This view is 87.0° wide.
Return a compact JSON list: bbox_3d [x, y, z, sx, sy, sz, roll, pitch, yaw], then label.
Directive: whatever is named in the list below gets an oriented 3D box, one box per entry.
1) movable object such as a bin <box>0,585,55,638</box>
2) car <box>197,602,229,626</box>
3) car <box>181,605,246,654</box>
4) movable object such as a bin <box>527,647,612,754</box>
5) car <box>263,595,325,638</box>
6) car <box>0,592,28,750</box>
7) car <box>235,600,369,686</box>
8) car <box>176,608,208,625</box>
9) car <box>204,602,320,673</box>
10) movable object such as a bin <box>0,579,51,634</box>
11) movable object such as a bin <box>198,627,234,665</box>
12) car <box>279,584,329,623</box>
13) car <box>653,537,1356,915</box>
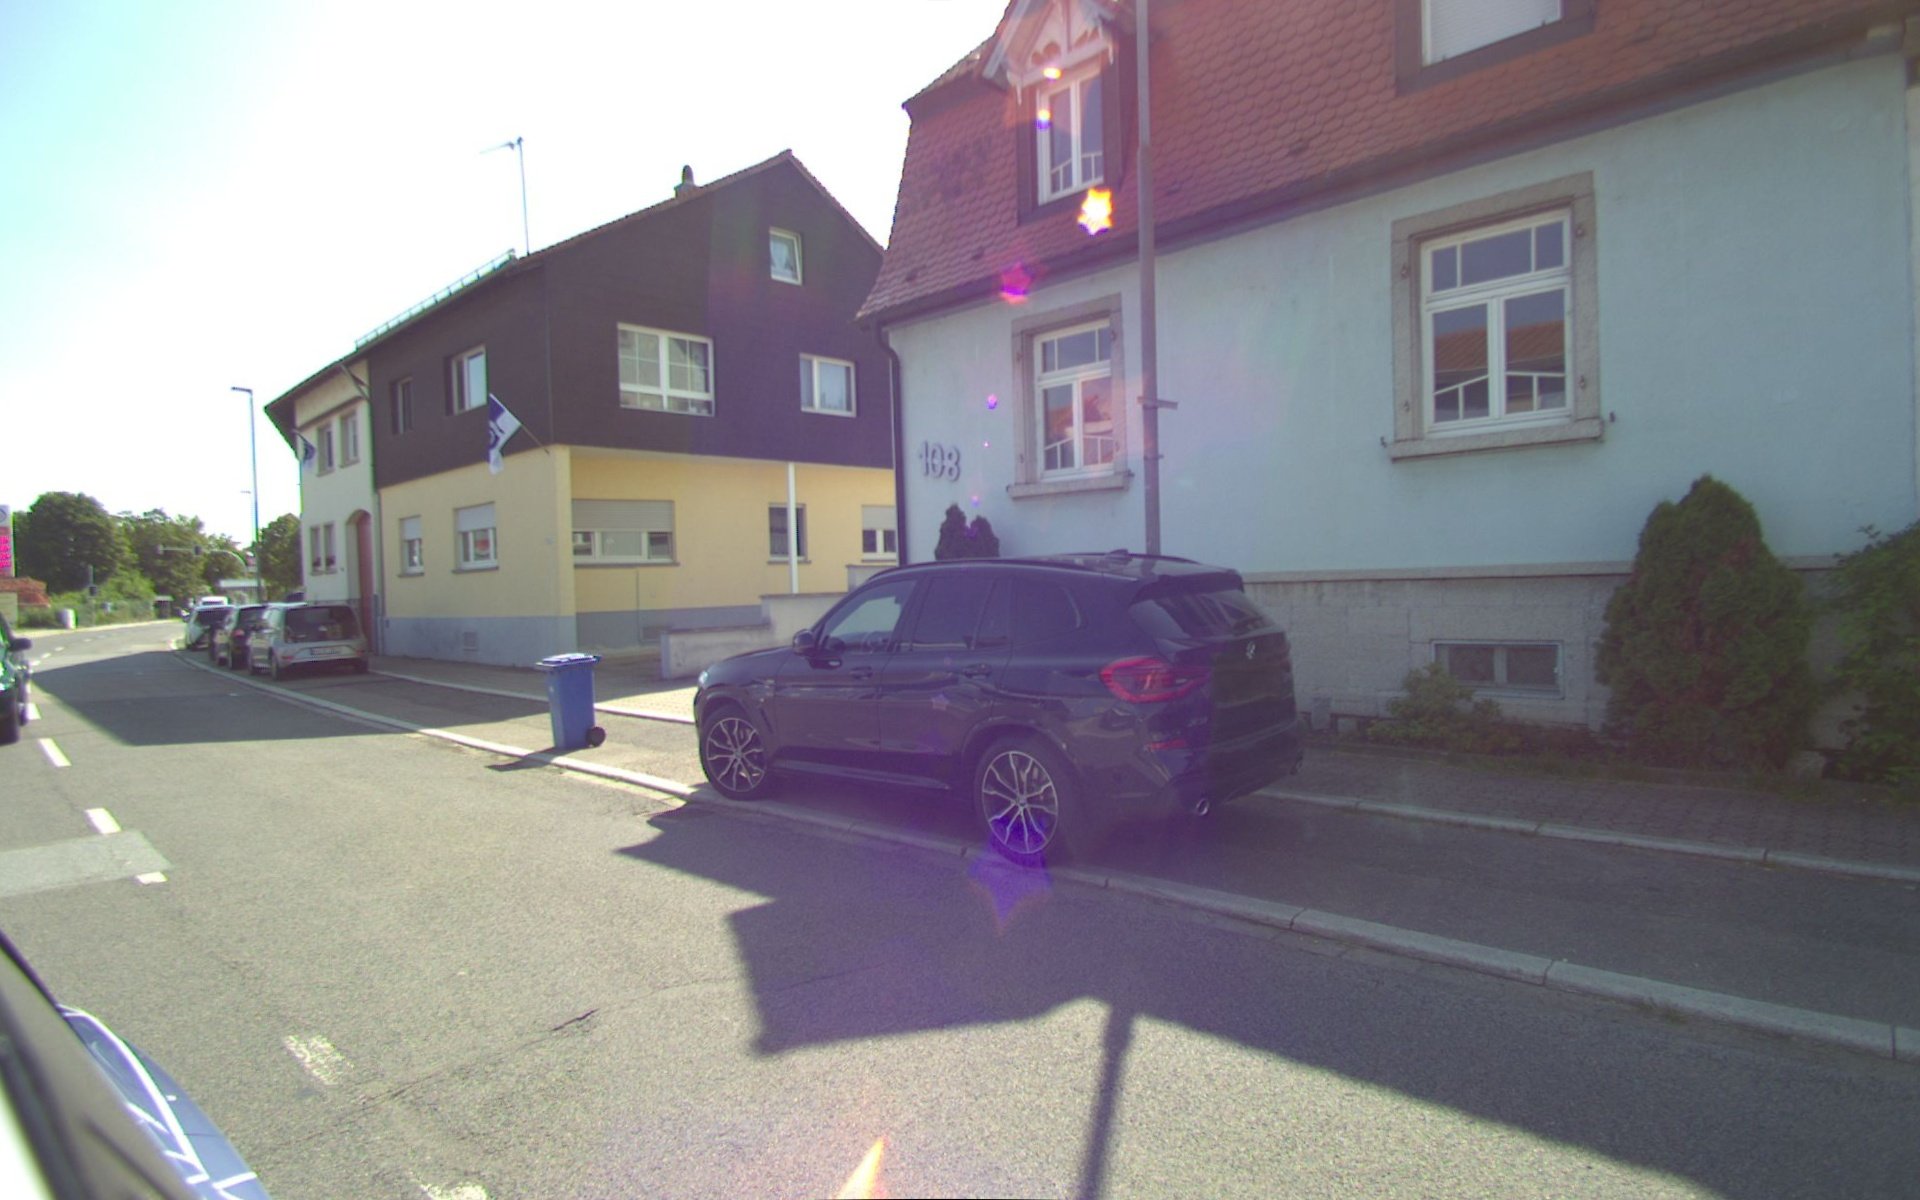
[{"bbox_3d":[-80.311,1.022,79.736,13.077,4.196,2.870,-2,0,-35],"label":"movable object such as a bin"},{"bbox_3d":[-81.994,1.542,111.145,1.906,2.521,5.857,-1,1,-28],"label":"car"},{"bbox_3d":[-25.191,0.954,34.124,1.662,1.473,3.657,-3,2,-37],"label":"car"},{"bbox_3d":[-3.939,0.995,10.224,0.531,0.989,0.590,-1,2,43],"label":"movable object such as a bin"},{"bbox_3d":[-31.276,0.736,47.637,1.811,1.806,4.357,-5,2,-26],"label":"car"},{"bbox_3d":[-12.433,0.837,12.071,1.821,1.709,4.404,-1,-1,-41],"label":"car"},{"bbox_3d":[-13.653,0.815,20.928,1.621,1.512,3.785,-5,3,-43],"label":"car"},{"bbox_3d":[-76.413,1.600,100.734,1.815,1.604,4.119,-1,1,-28],"label":"car"},{"bbox_3d":[-16.886,0.843,24.404,1.659,1.447,4.000,-6,4,-43],"label":"car"},{"bbox_3d":[-76.228,0.619,72.791,15.838,4.048,2.780,-2,0,-35],"label":"movable object such as a bin"},{"bbox_3d":[-19.860,1.215,27.010,0.825,0.935,0.546,-2,4,42],"label":"movable object such as a bin"},{"bbox_3d":[-38.496,0.194,59.333,2.099,2.000,5.278,-8,4,-35],"label":"car"},{"bbox_3d":[-0.019,0.550,6.899,4.667,1.680,1.899,-1,3,45],"label":"car"}]
